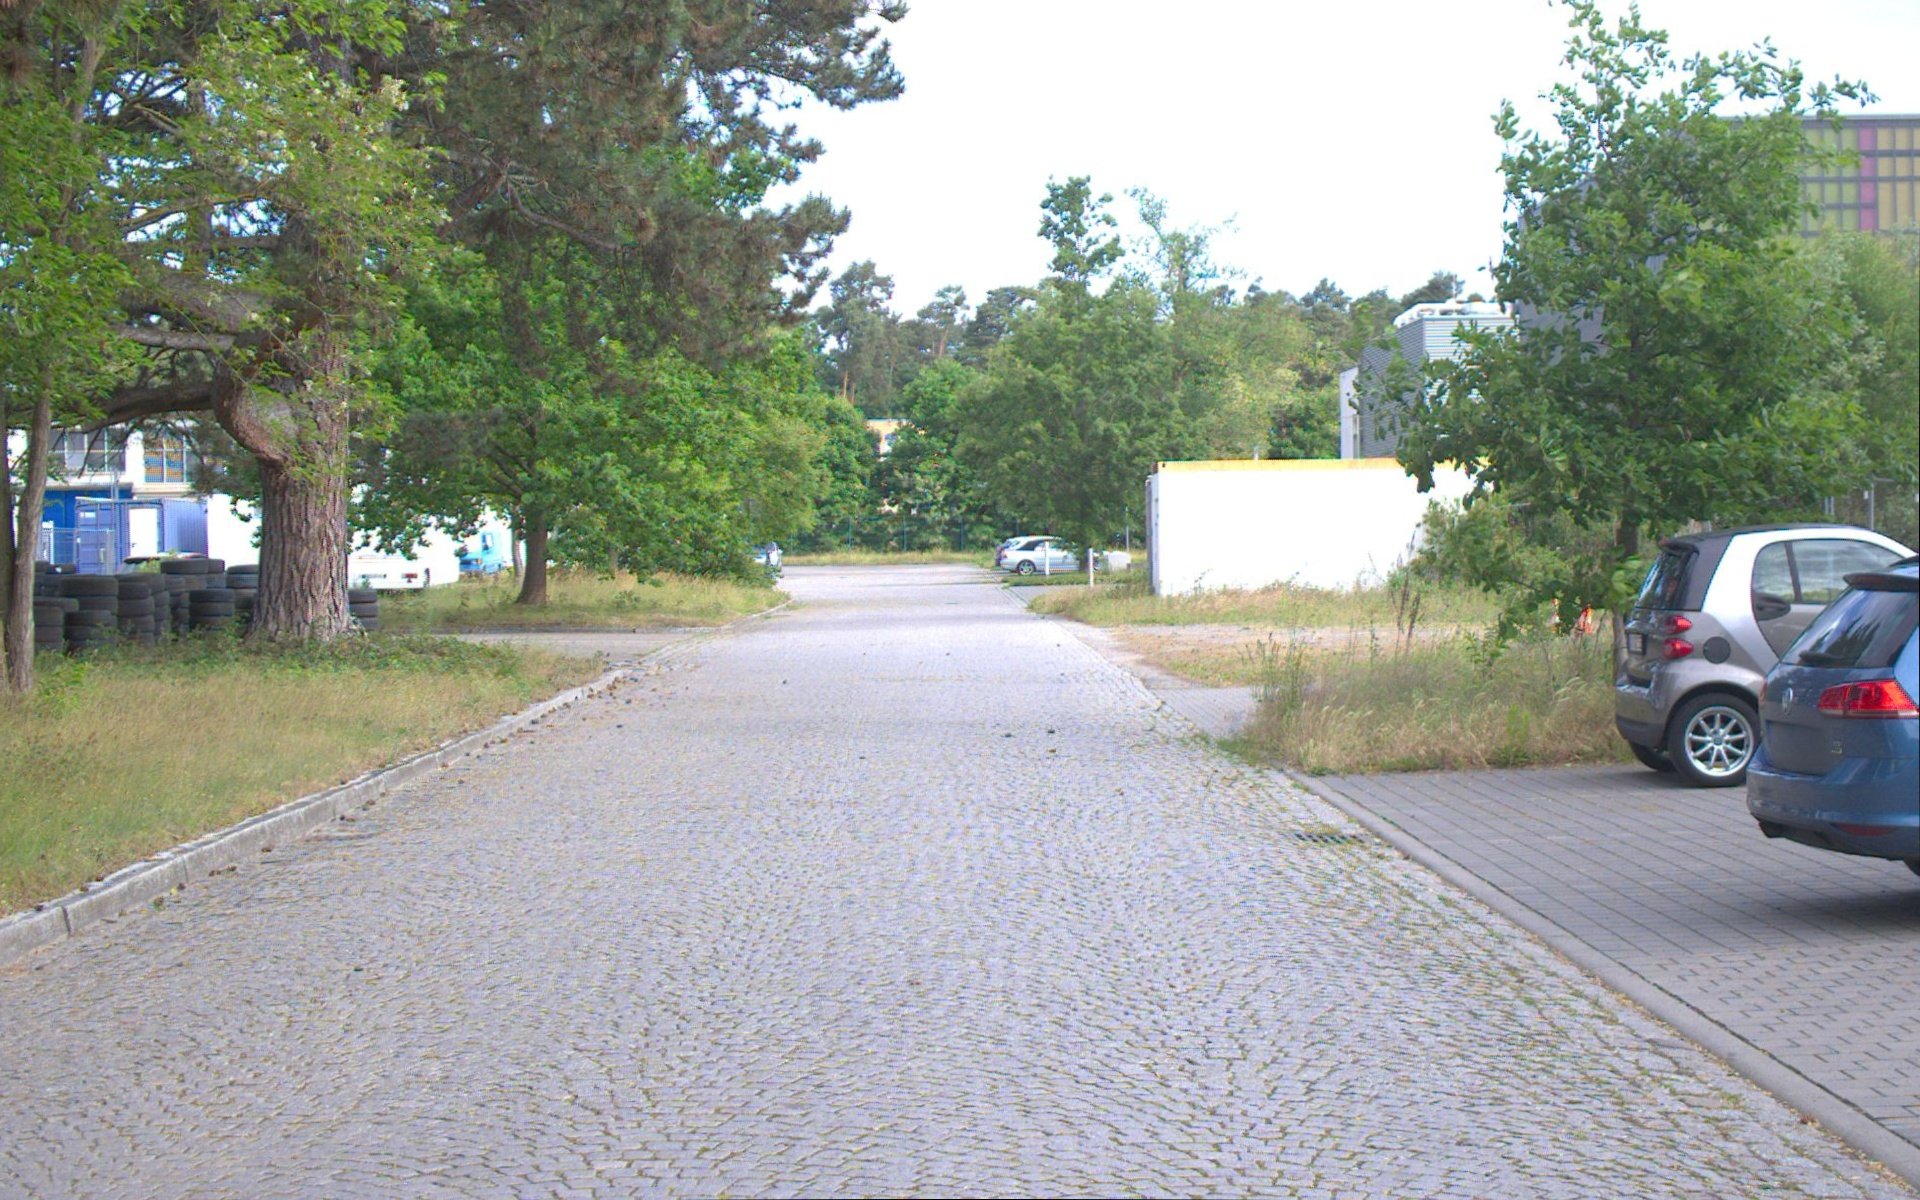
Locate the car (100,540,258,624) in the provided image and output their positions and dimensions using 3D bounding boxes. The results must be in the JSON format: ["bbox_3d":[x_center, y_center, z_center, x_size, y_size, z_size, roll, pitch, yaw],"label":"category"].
[{"bbox_3d":[-14.241,-0.358,62.875,1.626,1.428,4.063,-1,2,5],"label":"car"}]

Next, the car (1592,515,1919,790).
[{"bbox_3d":[5.465,0.282,21.371,2.710,1.551,1.653,-3,1,1],"label":"car"}]

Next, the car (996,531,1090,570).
[{"bbox_3d":[3.155,-1.893,131.181,3.522,1.357,1.622,-2,1,0],"label":"car"}]

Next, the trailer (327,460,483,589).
[{"bbox_3d":[-16.194,-2.213,100.991,2.625,3.585,10.177,0,1,2],"label":"trailer"}]

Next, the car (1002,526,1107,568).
[{"bbox_3d":[3.668,-2.056,133.874,3.984,1.443,1.653,-3,1,0],"label":"car"}]

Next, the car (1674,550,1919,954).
[{"bbox_3d":[5.408,0.475,14.060,4.490,1.470,1.831,-3,1,-3],"label":"car"}]

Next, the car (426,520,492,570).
[{"bbox_3d":[-20.473,-2.242,140.677,1.993,2.007,4.767,0,1,0],"label":"car"}]
